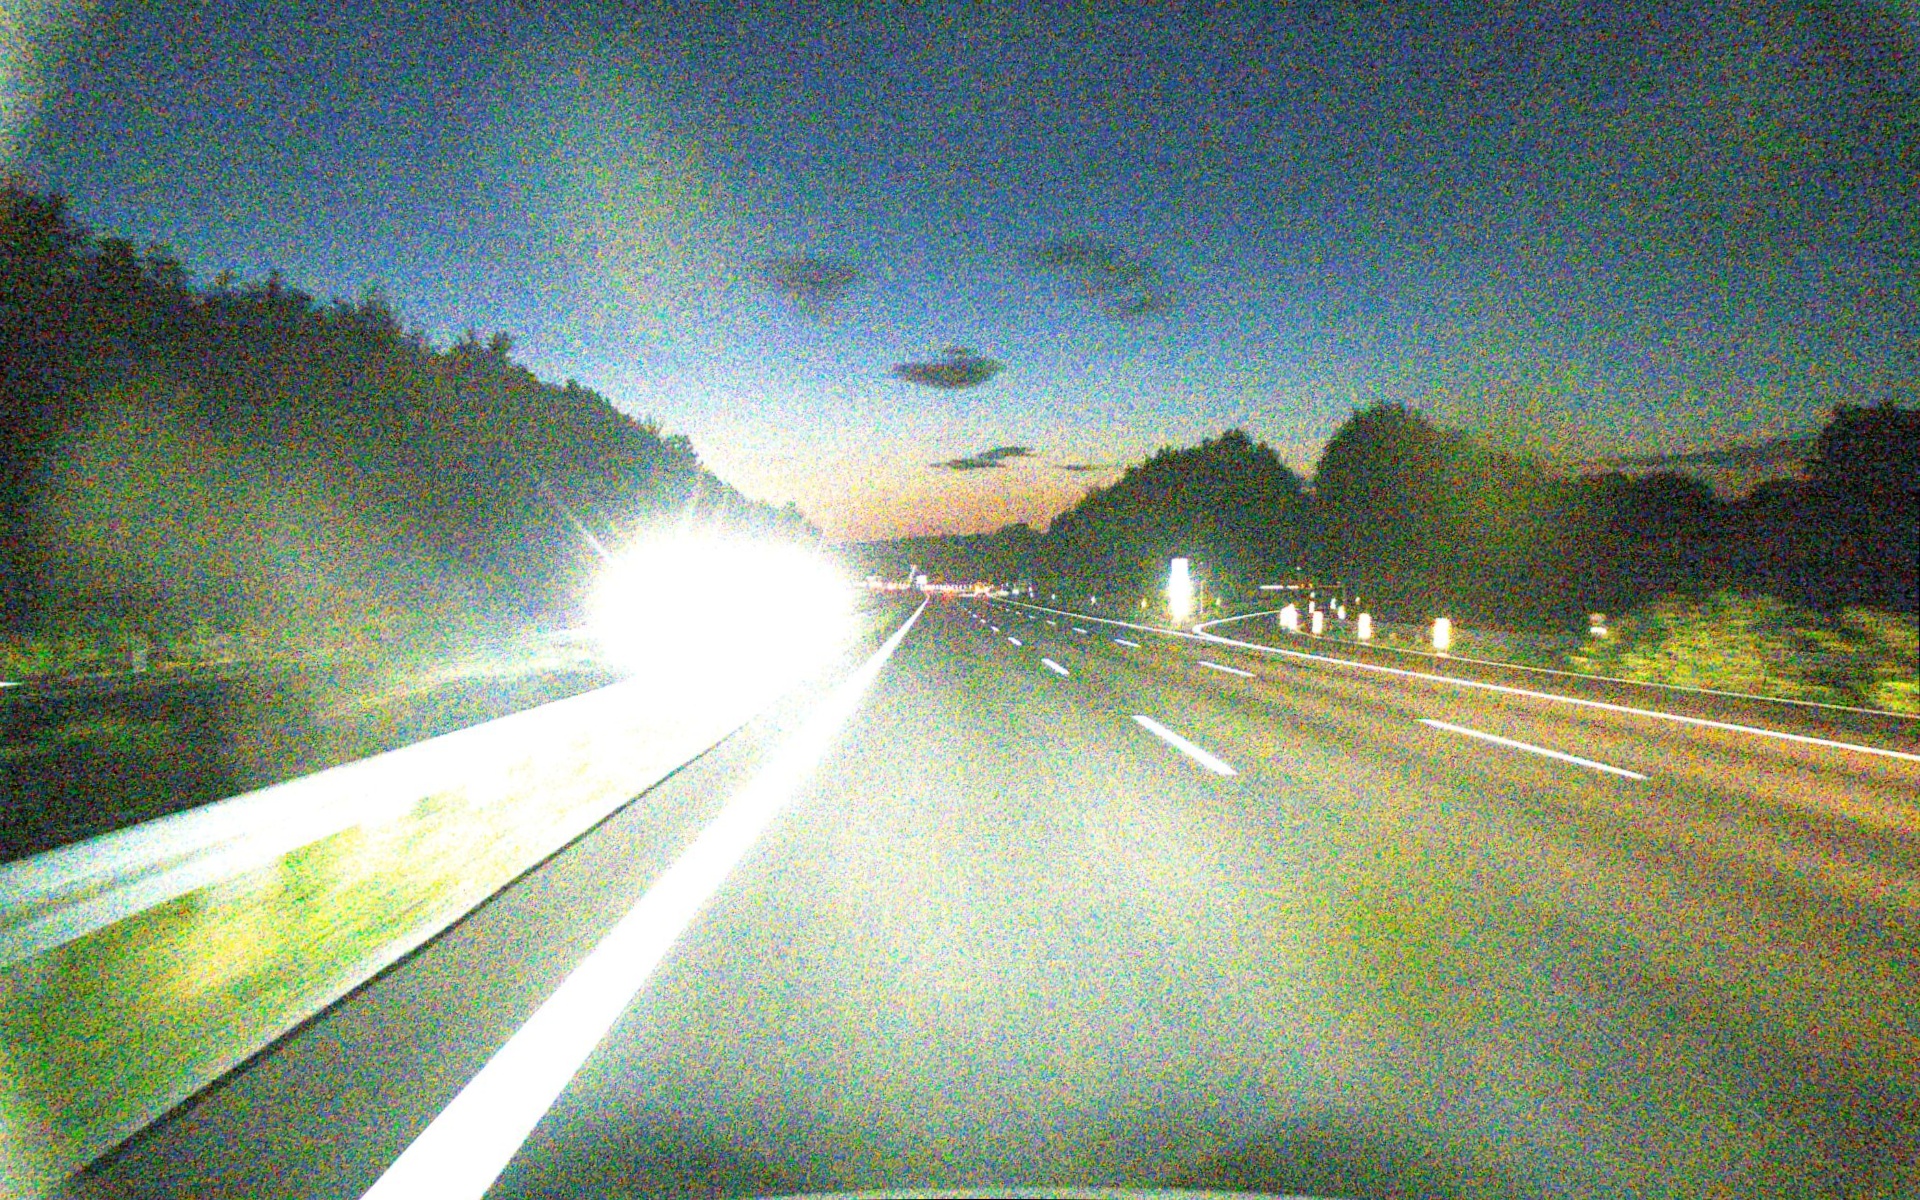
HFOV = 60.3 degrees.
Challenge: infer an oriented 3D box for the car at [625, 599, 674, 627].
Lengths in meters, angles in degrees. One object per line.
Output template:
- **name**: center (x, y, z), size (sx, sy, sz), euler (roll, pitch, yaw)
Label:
- **car**: center (-17.963, 0.707, 95.816), size (1.953, 1.511, 4.799), euler (-2, 0, -1)

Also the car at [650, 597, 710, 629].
- **car**: center (-13.208, 0.593, 78.334), size (1.953, 1.418, 5.704), euler (-1, 0, -1)

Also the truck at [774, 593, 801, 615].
- **truck**: center (-16.186, 0.395, 155.563), size (1.952, 1.976, 5.240), euler (-1, 0, 0)

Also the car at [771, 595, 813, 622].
- **car**: center (-9.725, 0.473, 96.106), size (1.953, 1.487, 4.899), euler (-3, 0, 0)

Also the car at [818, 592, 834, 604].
- **car**: center (-19.355, -0.308, 238.905), size (1.953, 1.530, 5.200), euler (-2, 0, 0)
